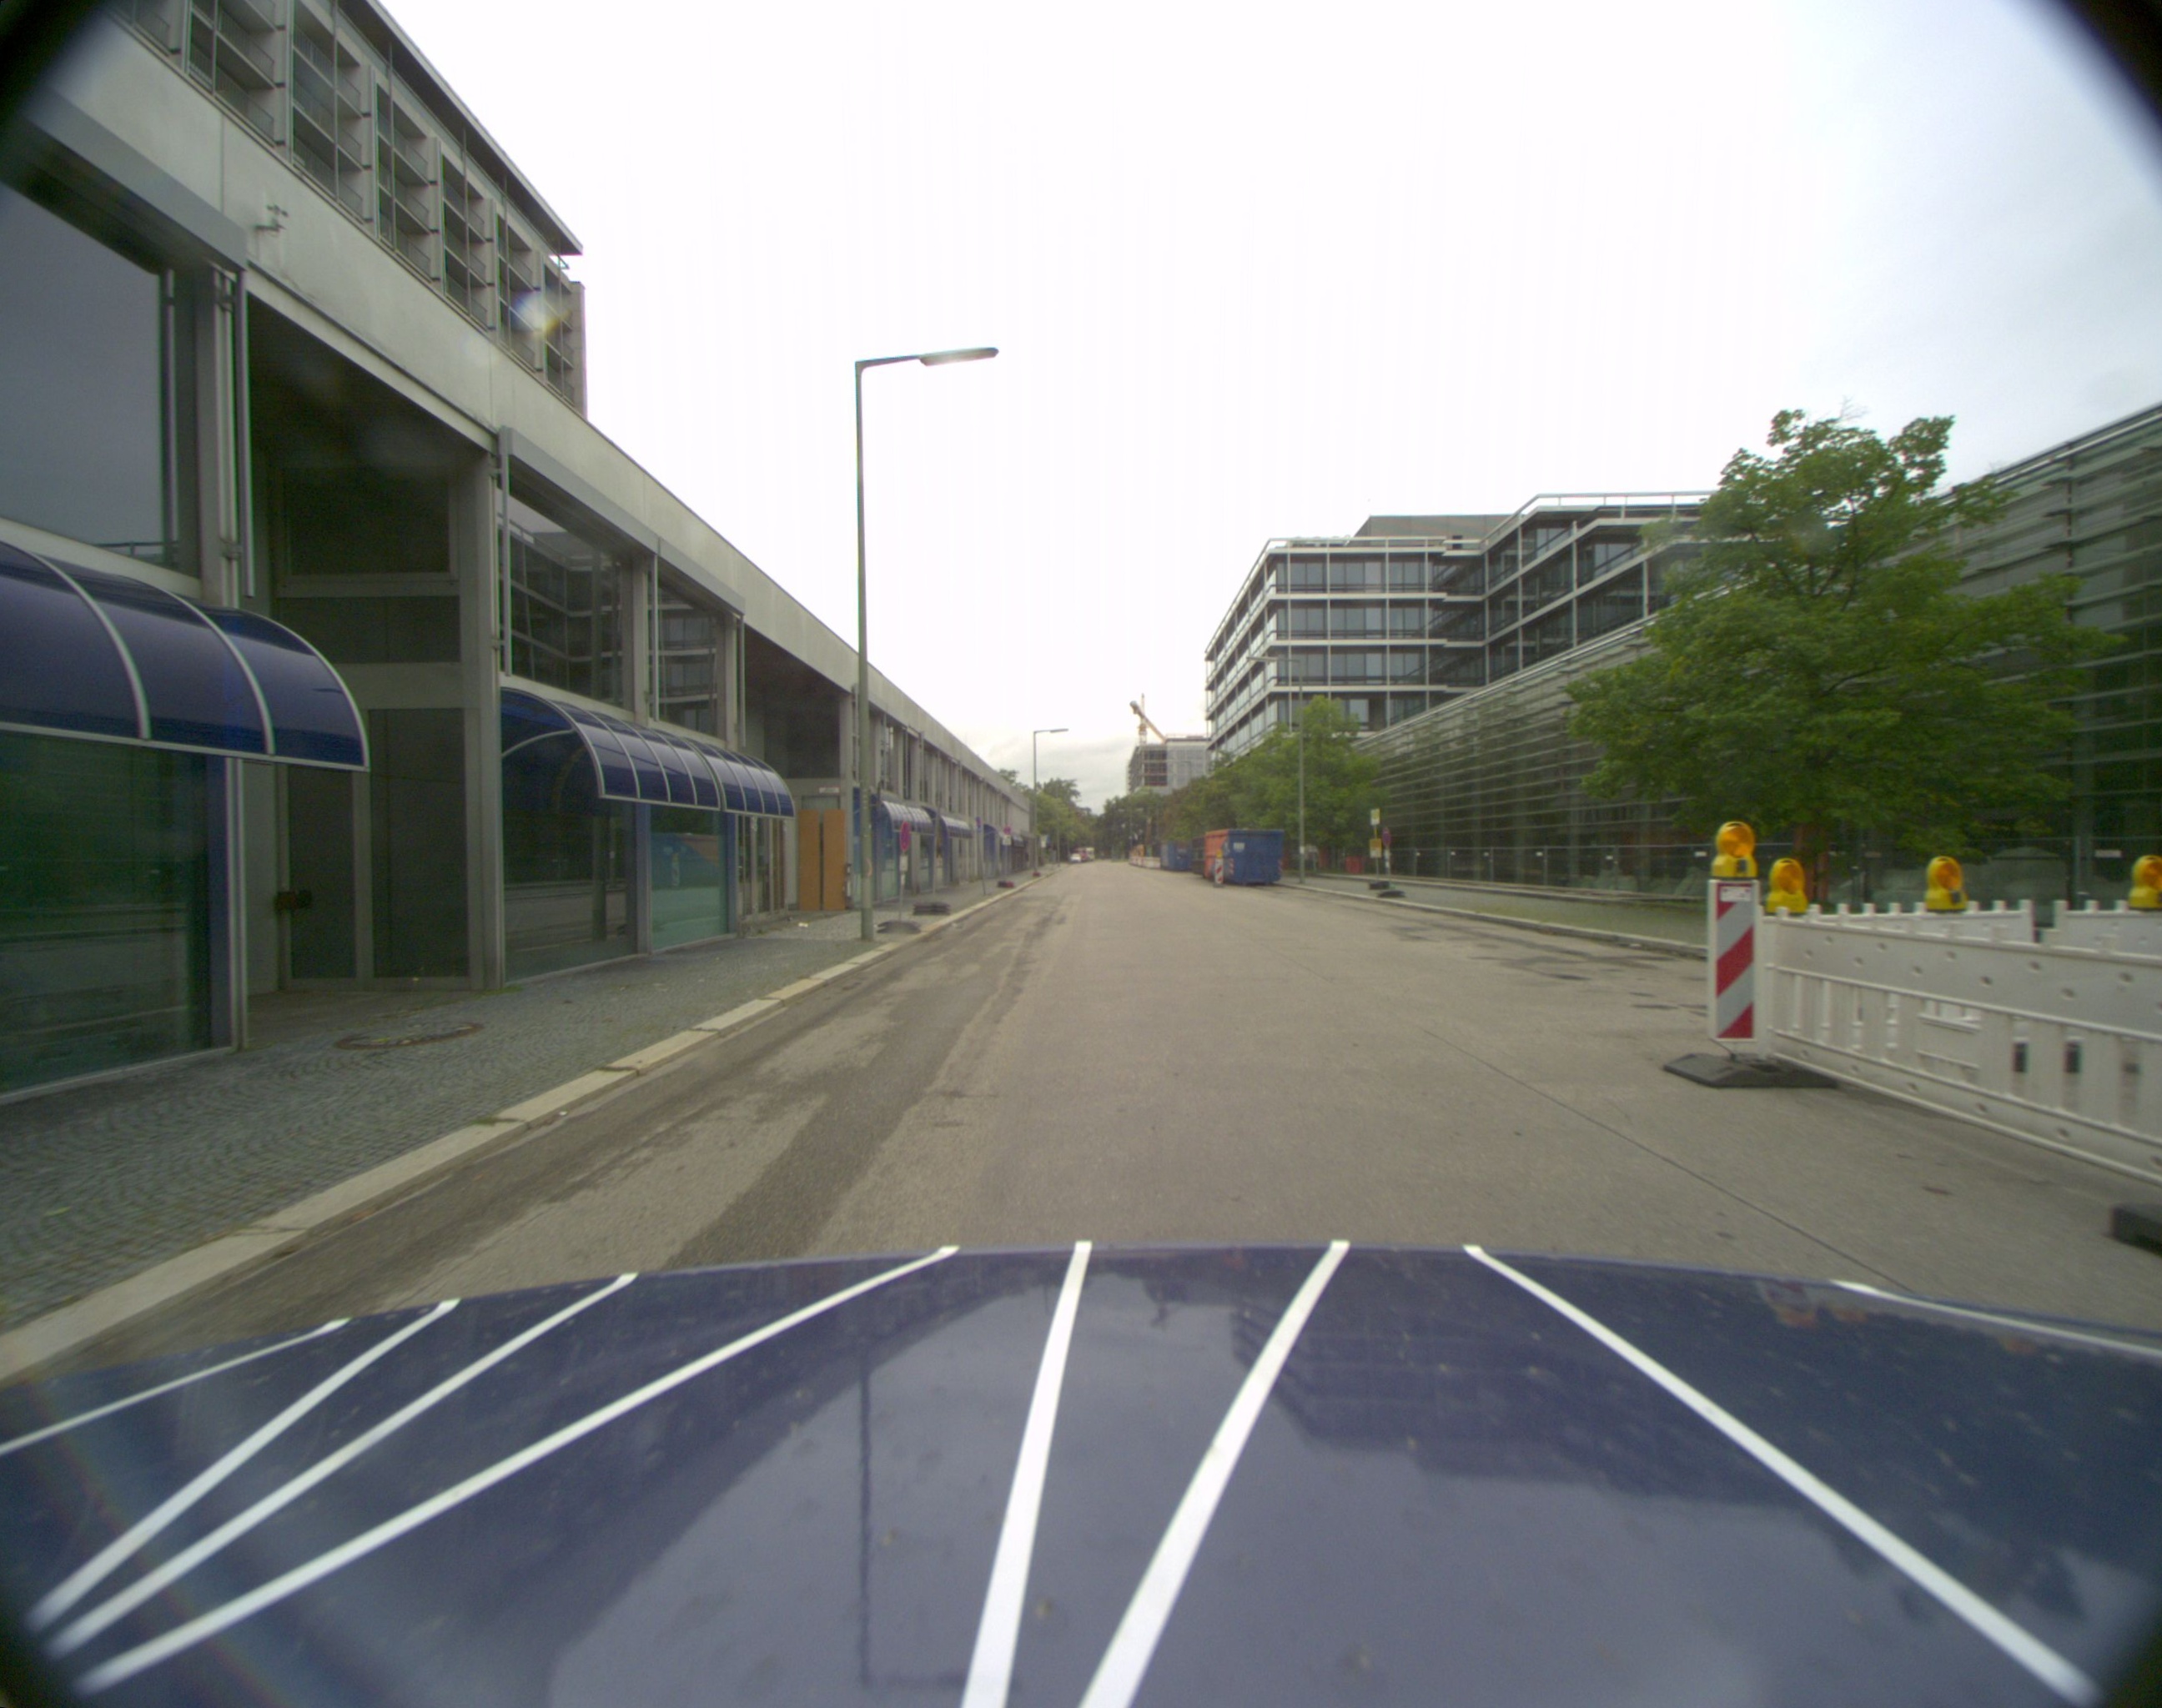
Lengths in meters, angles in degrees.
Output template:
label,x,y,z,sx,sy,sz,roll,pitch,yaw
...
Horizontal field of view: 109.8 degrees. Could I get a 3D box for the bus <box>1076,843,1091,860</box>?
label,x,y,z,sx,sy,sz,roll,pitch,yaw
bus,0.534,-0.459,133.851,2.077,2.789,6.274,0,0,6

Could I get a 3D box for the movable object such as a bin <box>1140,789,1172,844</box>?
label,x,y,z,sx,sy,sz,roll,pitch,yaw
movable object such as a bin,9.388,-4.505,96.306,2.911,6.527,11.782,0,1,1

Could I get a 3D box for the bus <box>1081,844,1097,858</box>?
label,x,y,z,sx,sy,sz,roll,pitch,yaw
bus,1.572,-0.603,147.794,2.076,2.714,5.871,0,0,10

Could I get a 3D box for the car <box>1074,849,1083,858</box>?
label,x,y,z,sx,sy,sz,roll,pitch,yaw
car,-0.458,-0.103,126.624,1.536,1.483,4.059,0,1,-1
